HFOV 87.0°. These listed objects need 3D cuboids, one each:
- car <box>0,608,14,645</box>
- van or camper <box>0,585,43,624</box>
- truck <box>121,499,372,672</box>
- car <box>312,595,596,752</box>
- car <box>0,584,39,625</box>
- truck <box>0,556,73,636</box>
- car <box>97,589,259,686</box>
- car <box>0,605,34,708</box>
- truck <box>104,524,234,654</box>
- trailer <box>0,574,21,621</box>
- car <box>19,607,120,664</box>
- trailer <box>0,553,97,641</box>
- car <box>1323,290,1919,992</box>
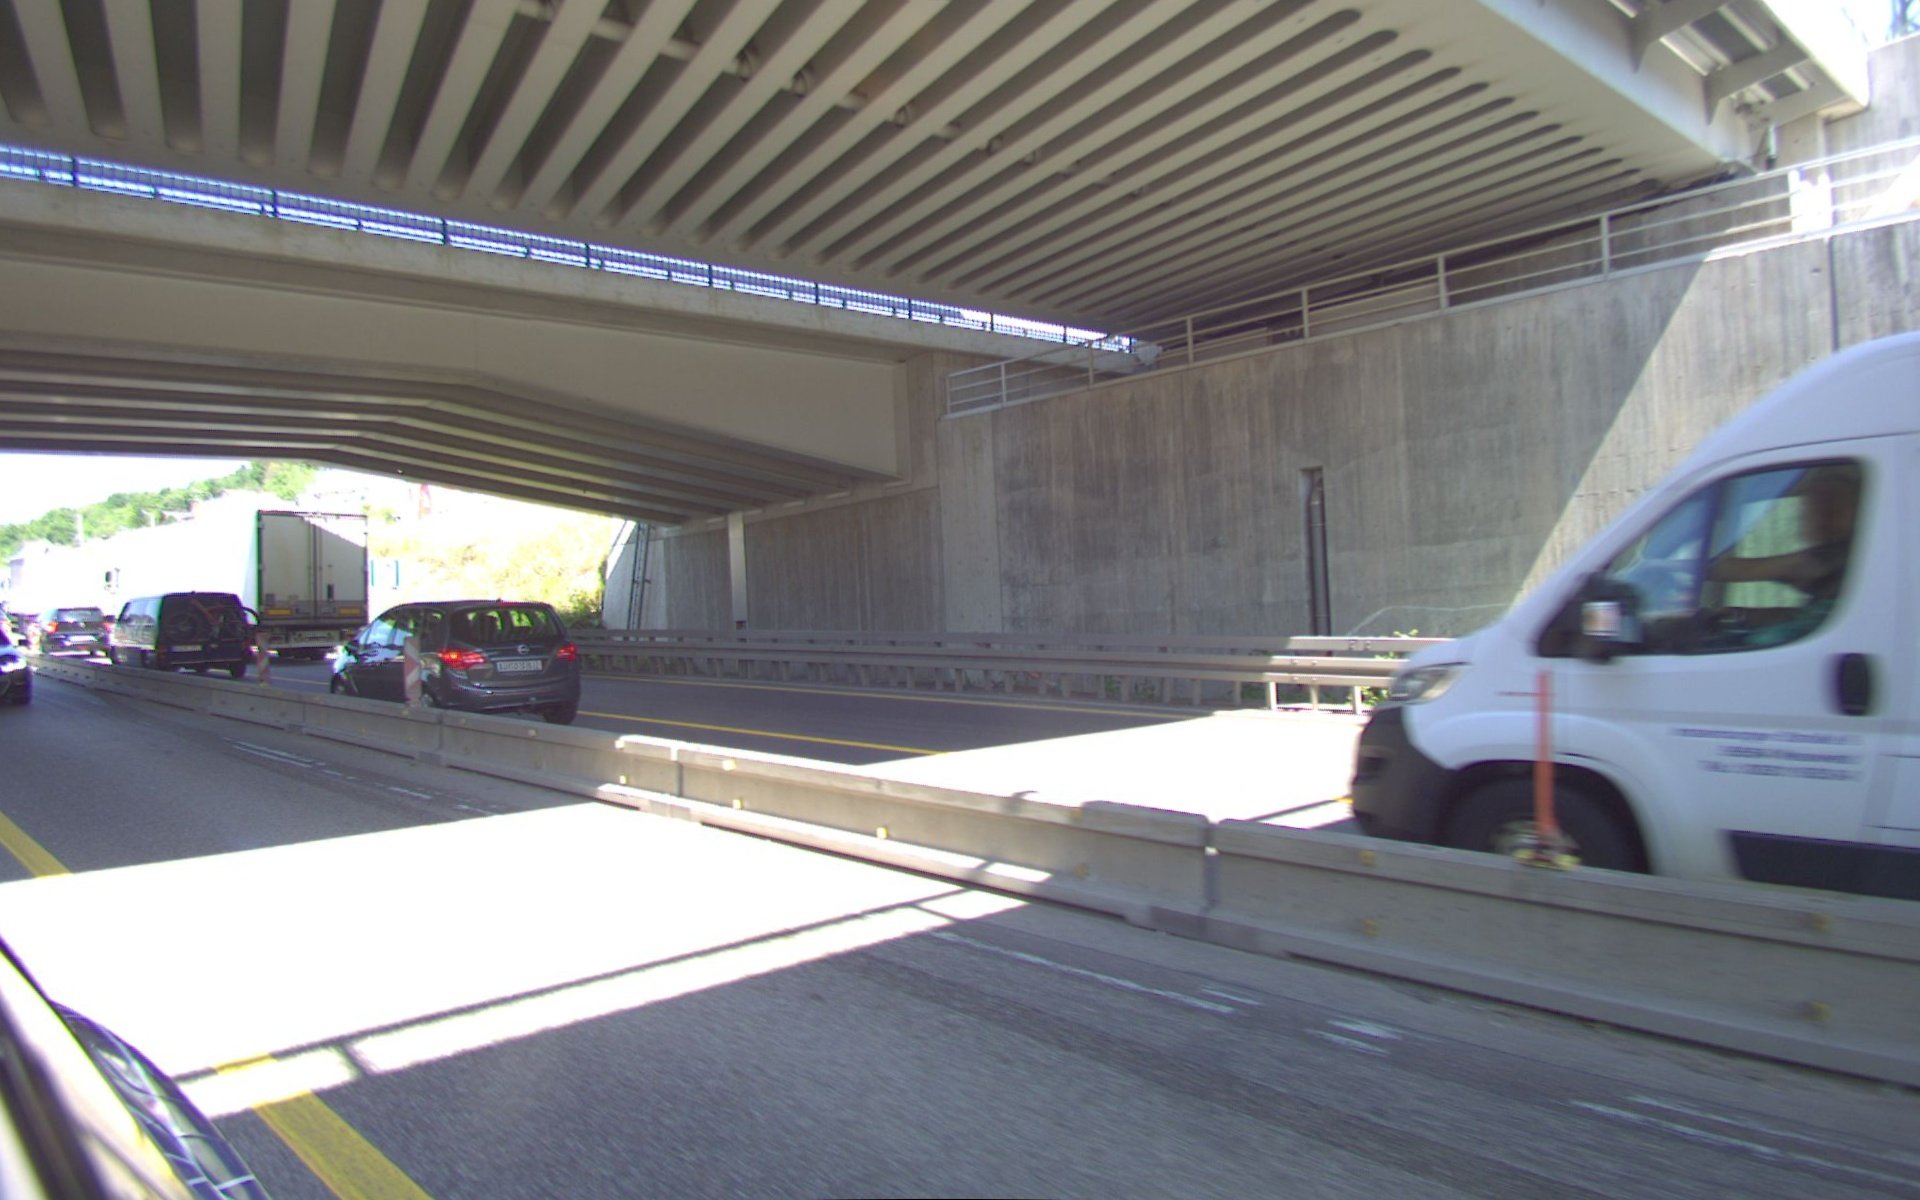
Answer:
[{"bbox_3d":[-43.288,1.149,44.561,4.770,1.539,1.836,1,1,40],"label":"car"},{"bbox_3d":[-67.229,0.311,72.296,2.096,2.725,6.468,0,0,-38],"label":"van or camper"},{"bbox_3d":[-22.068,-0.459,30.742,13.478,4.345,2.741,1,1,40],"label":"truck"},{"bbox_3d":[-6.393,0.783,12.582,4.139,1.622,1.730,-1,0,42],"label":"car"},{"bbox_3d":[-67.190,0.260,71.924,2.249,2.842,6.562,-1,1,-45],"label":"car"},{"bbox_3d":[-50.159,-0.249,54.662,4.071,4.181,2.770,1,1,40],"label":"truck"},{"bbox_3d":[-17.647,0.778,22.757,4.963,1.947,1.782,-1,0,39],"label":"car"},{"bbox_3d":[-17.031,0.903,16.938,4.388,1.609,1.814,0,1,42],"label":"car"},{"bbox_3d":[-27.687,-0.410,35.374,5.184,4.202,2.632,1,1,41],"label":"truck"},{"bbox_3d":[-81.970,-0.271,86.169,2.625,3.844,11.829,-1,1,-44],"label":"trailer"},{"bbox_3d":[-28.003,1.083,31.768,4.520,1.621,1.705,-1,1,40],"label":"car"},{"bbox_3d":[-47.081,-0.189,52.049,8.238,4.205,2.784,1,1,40],"label":"trailer"},{"bbox_3d":[4.632,0.117,3.488,6.051,2.347,1.961,-1,0,39],"label":"car"}]
